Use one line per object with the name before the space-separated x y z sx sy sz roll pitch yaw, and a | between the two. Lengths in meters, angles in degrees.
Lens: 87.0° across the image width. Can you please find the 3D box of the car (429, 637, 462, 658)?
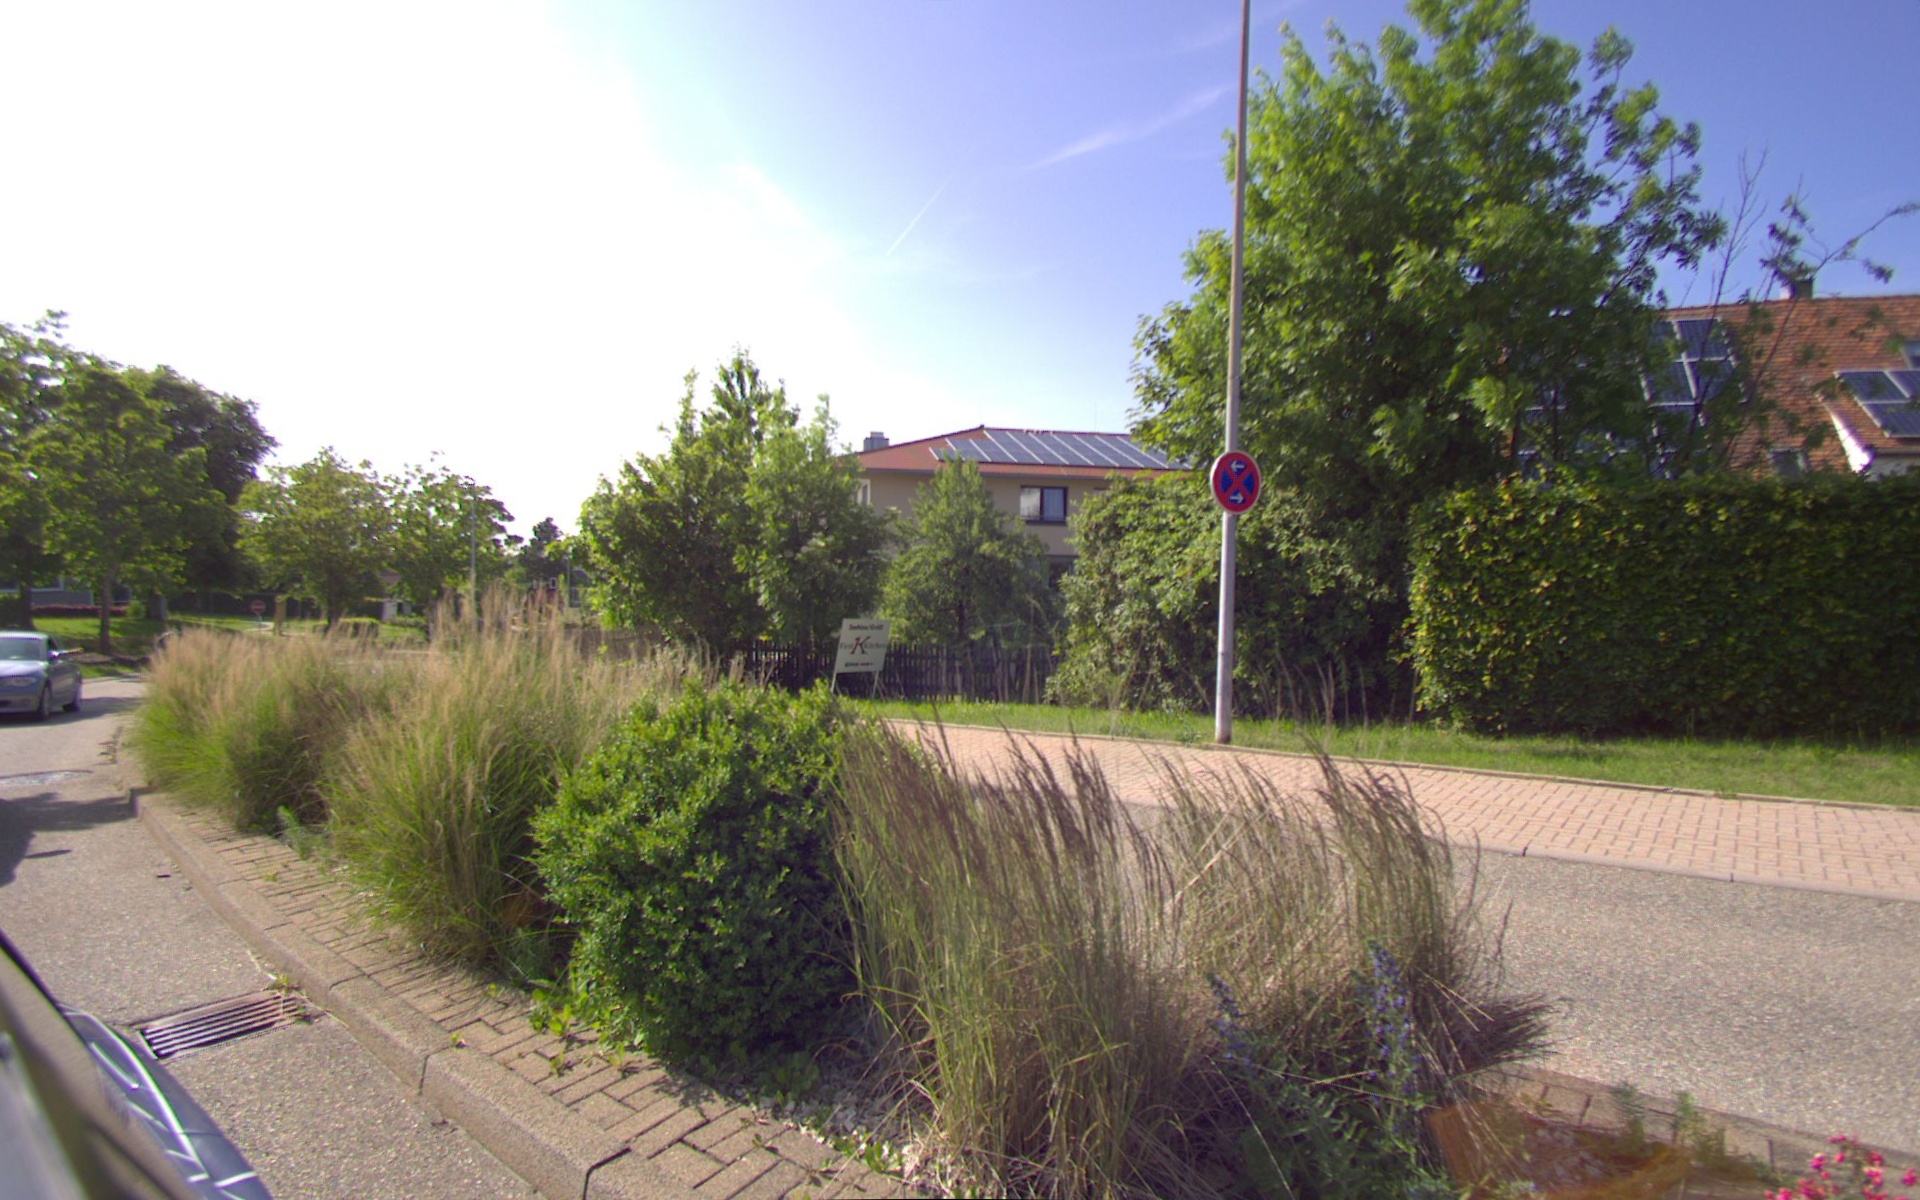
car | -35.327 3.278 69.509 1.454 1.375 2.811 3 -3 -17

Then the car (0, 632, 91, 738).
car | -15.557 1.278 16.206 1.872 1.519 4.011 4 -4 -33
